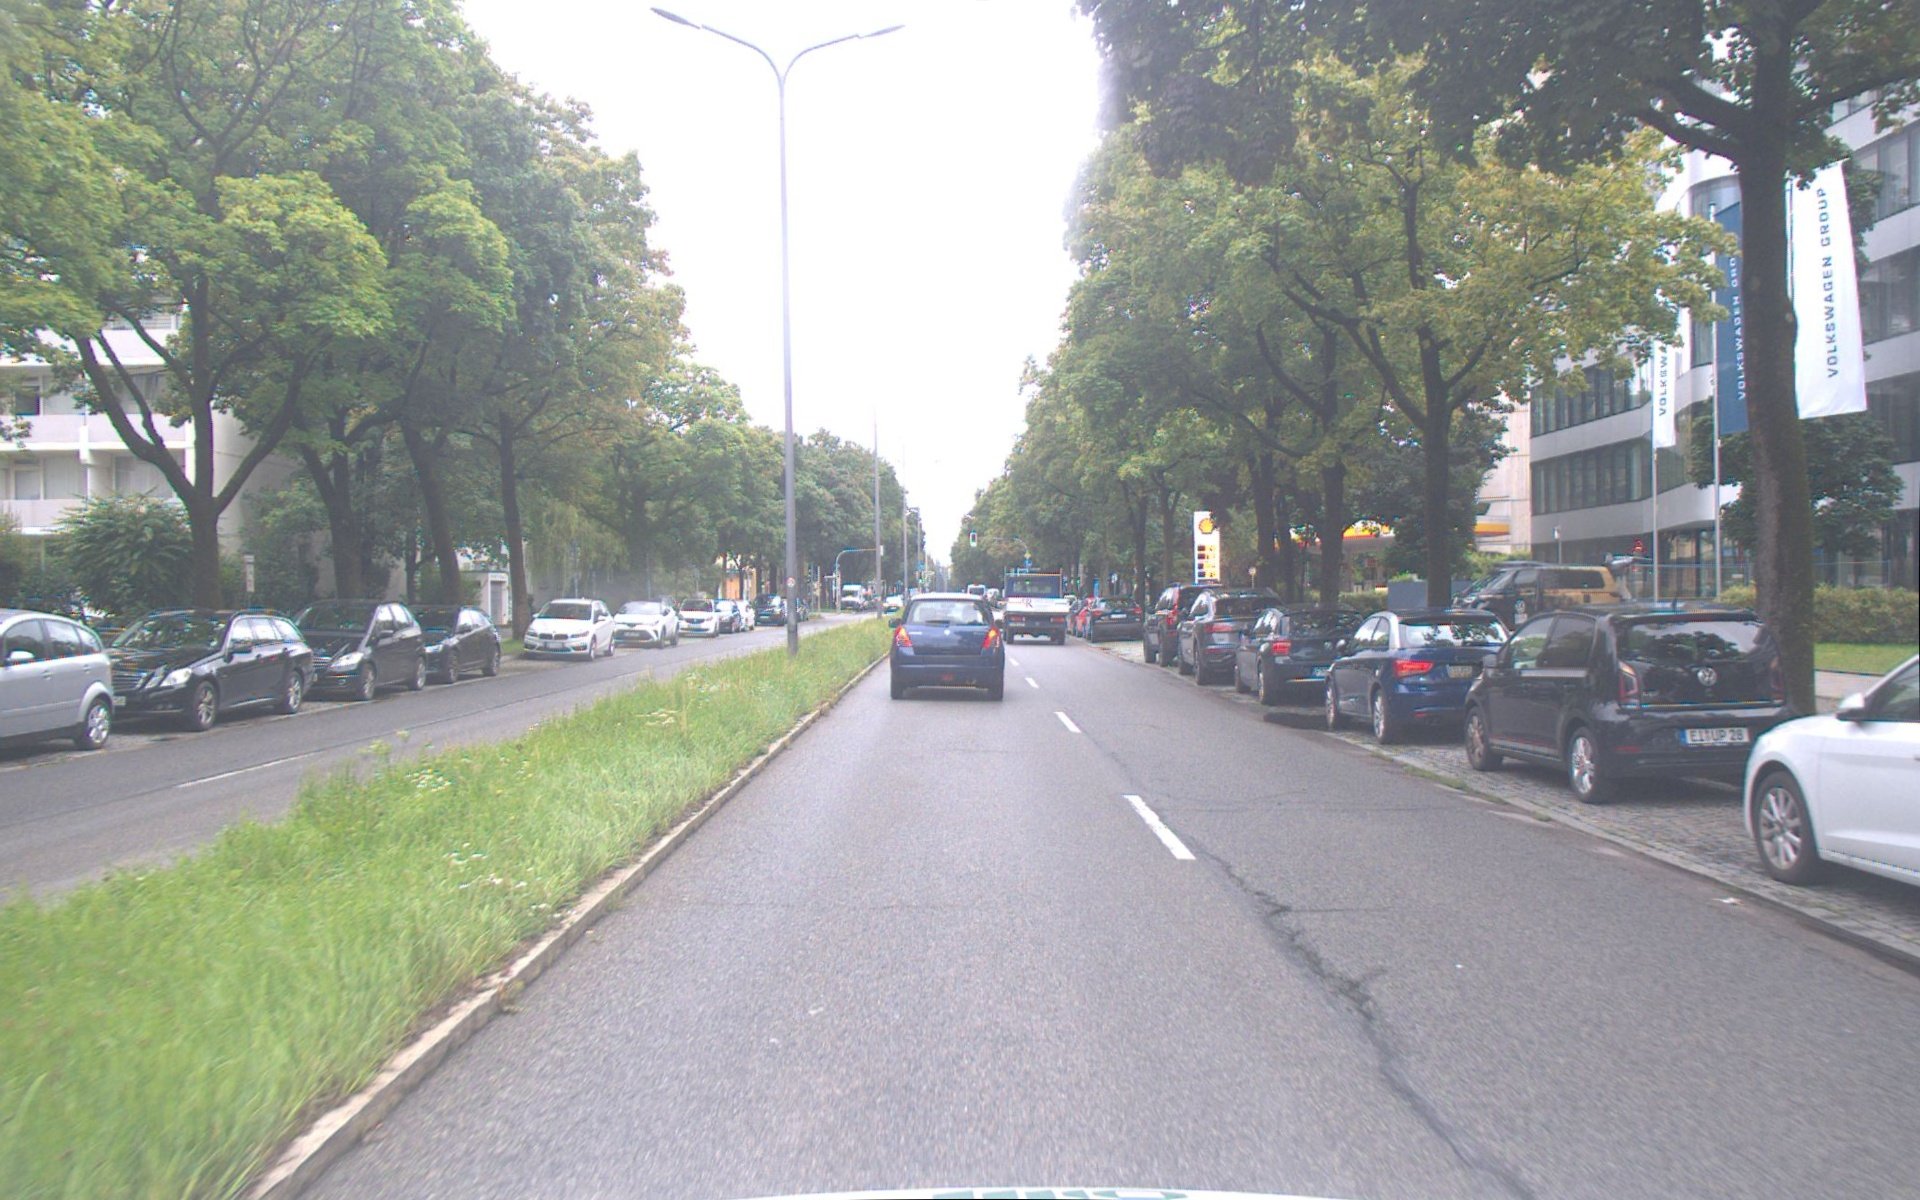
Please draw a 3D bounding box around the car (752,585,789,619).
[{"bbox_3d":[-10.493,0.095,92.015,1.761,1.794,5.054,2,0,-4],"label":"car"}]

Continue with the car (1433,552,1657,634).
[{"bbox_3d":[15.940,-0.191,45.260,5.359,2.120,2.146,-1,0,-1],"label":"car"}]

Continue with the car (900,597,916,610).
[{"bbox_3d":[-5.995,0.373,190.302,1.702,1.467,4.102,-2,0,-1],"label":"car"}]

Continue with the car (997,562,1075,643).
[{"bbox_3d":[2.402,0.077,53.640,2.369,2.487,5.087,0,0,1],"label":"car"}]

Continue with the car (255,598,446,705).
[{"bbox_3d":[-10.293,0.811,28.251,1.651,1.625,4.210,1,0,0],"label":"car"}]

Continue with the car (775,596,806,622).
[{"bbox_3d":[-10.640,0.548,103.898,1.633,1.589,4.297,-1,0,-3],"label":"car"}]

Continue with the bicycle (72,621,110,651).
[{"bbox_3d":[-28.042,1.150,53.389,0.448,0.916,1.450,-1,0,0],"label":"bicycle"}]

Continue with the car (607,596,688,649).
[{"bbox_3d":[-10.331,0.715,54.965,1.794,1.637,4.491,1,0,0],"label":"car"}]

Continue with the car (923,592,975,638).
[{"bbox_3d":[-0.384,0.514,59.382,1.762,1.525,3.660,-1,0,0],"label":"car"}]

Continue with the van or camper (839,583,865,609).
[{"bbox_3d":[-10.884,-0.389,166.794,2.096,2.519,6.258,-2,0,0],"label":"van or camper"}]

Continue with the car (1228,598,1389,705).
[{"bbox_3d":[5.256,0.718,25.466,1.666,1.432,4.514,-2,0,2],"label":"car"}]

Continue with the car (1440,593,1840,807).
[{"bbox_3d":[5.425,0.703,13.778,1.667,1.472,3.978,-2,0,0],"label":"car"}]

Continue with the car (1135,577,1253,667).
[{"bbox_3d":[5.139,0.440,36.900,1.854,1.831,4.861,-2,0,-1],"label":"car"}]

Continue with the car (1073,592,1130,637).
[{"bbox_3d":[5.139,0.496,60.604,1.641,1.527,4.021,-3,0,0],"label":"car"}]

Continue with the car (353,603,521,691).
[{"bbox_3d":[-10.306,0.864,33.004,1.724,1.540,4.948,1,0,0],"label":"car"}]

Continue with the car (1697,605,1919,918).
[{"bbox_3d":[5.364,0.773,8.013,1.667,1.422,4.232,-2,0,0],"label":"car"}]

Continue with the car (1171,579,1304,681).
[{"bbox_3d":[5.085,0.504,30.909,1.775,1.705,4.801,-2,0,2],"label":"car"}]

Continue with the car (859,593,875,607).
[{"bbox_3d":[-10.491,-0.011,187.400,1.603,1.467,3.734,-2,0,0],"label":"car"}]

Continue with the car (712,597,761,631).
[{"bbox_3d":[-10.575,0.632,78.441,1.640,1.468,4.320,2,0,0],"label":"car"}]

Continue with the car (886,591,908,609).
[{"bbox_3d":[-5.435,0.018,143.825,1.703,1.465,4.215,-1,0,0],"label":"car"}]

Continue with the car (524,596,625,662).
[{"bbox_3d":[-10.383,0.738,44.852,1.721,1.622,4.488,1,0,-1],"label":"car"}]

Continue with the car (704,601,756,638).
[{"bbox_3d":[-10.161,0.847,73.280,1.640,1.501,4.215,2,0,0],"label":"car"}]

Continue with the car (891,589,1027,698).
[{"bbox_3d":[-0.085,0.596,24.986,1.858,1.525,3.658,0,0,-3],"label":"car"}]

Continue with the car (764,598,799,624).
[{"bbox_3d":[-10.631,0.622,98.870,1.632,1.470,4.374,-1,0,-1],"label":"car"}]

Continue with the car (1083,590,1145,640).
[{"bbox_3d":[5.167,0.487,55.976,1.743,1.537,4.286,-3,0,2],"label":"car"}]

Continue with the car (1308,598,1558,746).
[{"bbox_3d":[5.273,0.731,18.974,1.667,1.446,4.121,-2,0,0],"label":"car"}]

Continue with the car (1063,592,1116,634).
[{"bbox_3d":[5.042,0.485,65.027,1.641,1.479,4.582,-3,0,0],"label":"car"}]

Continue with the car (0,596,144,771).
[{"bbox_3d":[-10.324,0.830,17.296,1.592,1.676,3.867,2,0,0],"label":"car"}]

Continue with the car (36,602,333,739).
[{"bbox_3d":[-10.312,0.859,22.488,1.681,1.551,5.033,2,0,-1],"label":"car"}]

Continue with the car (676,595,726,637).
[{"bbox_3d":[-10.607,0.640,67.919,1.657,1.593,3.078,2,0,-2],"label":"car"}]

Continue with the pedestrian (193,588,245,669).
[{"bbox_3d":[-15.732,0.606,35.134,0.832,1.685,0.607,-1,0,-7],"label":"pedestrian"}]

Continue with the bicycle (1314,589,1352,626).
[{"bbox_3d":[12.502,0.238,55.498,0.733,1.203,2.246,-1,0,0],"label":"bicycle"}]

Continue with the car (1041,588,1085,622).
[{"bbox_3d":[4.900,0.215,79.273,1.725,1.479,4.632,-3,0,0],"label":"car"}]
